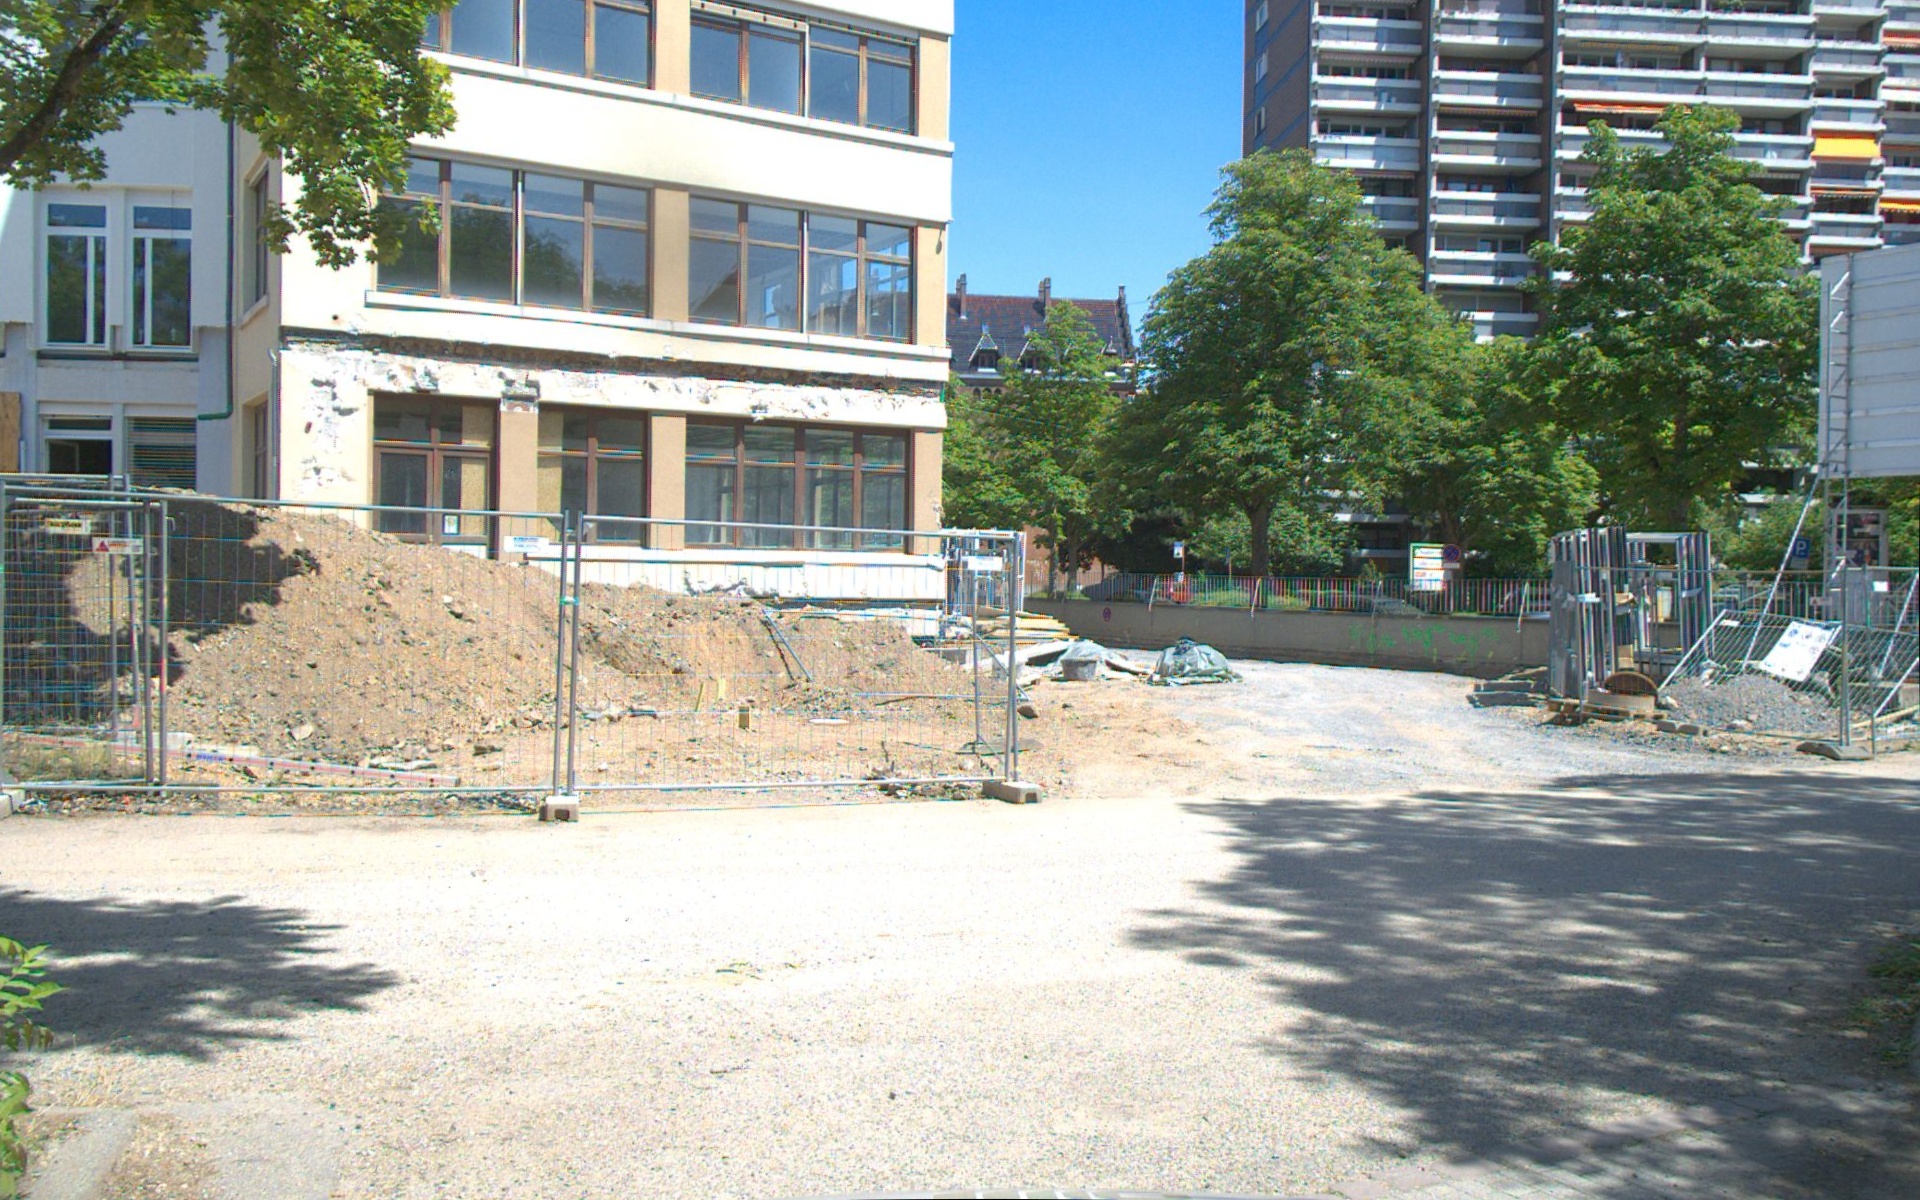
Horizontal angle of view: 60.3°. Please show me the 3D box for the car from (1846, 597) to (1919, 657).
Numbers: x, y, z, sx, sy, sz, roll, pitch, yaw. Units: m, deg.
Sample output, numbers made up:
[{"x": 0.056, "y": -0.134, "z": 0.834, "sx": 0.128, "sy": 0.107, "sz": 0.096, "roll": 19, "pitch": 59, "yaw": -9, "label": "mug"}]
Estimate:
[{"x": 24.646, "y": 0.678, "z": 43.206, "sx": 1.598, "sy": 1.489, "sz": 3.681, "roll": 1, "pitch": 0, "yaw": 11, "label": "car"}]

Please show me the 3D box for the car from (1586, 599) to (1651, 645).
[{"x": 21.351, "y": 0.675, "z": 53.692, "sx": 1.598, "sy": 1.411, "sz": 3.680, "roll": 1, "pitch": 0, "yaw": 16, "label": "car"}]

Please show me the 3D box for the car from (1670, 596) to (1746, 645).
[{"x": 22.868, "y": 0.596, "z": 50.677, "sx": 1.598, "sy": 1.411, "sz": 3.680, "roll": 1, "pitch": 0, "yaw": 16, "label": "car"}]

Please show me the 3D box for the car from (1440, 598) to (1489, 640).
[{"x": 17.732, "y": 0.641, "z": 58.237, "sx": 1.598, "sy": 1.411, "sz": 3.680, "roll": 1, "pitch": 0, "yaw": 16, "label": "car"}]
